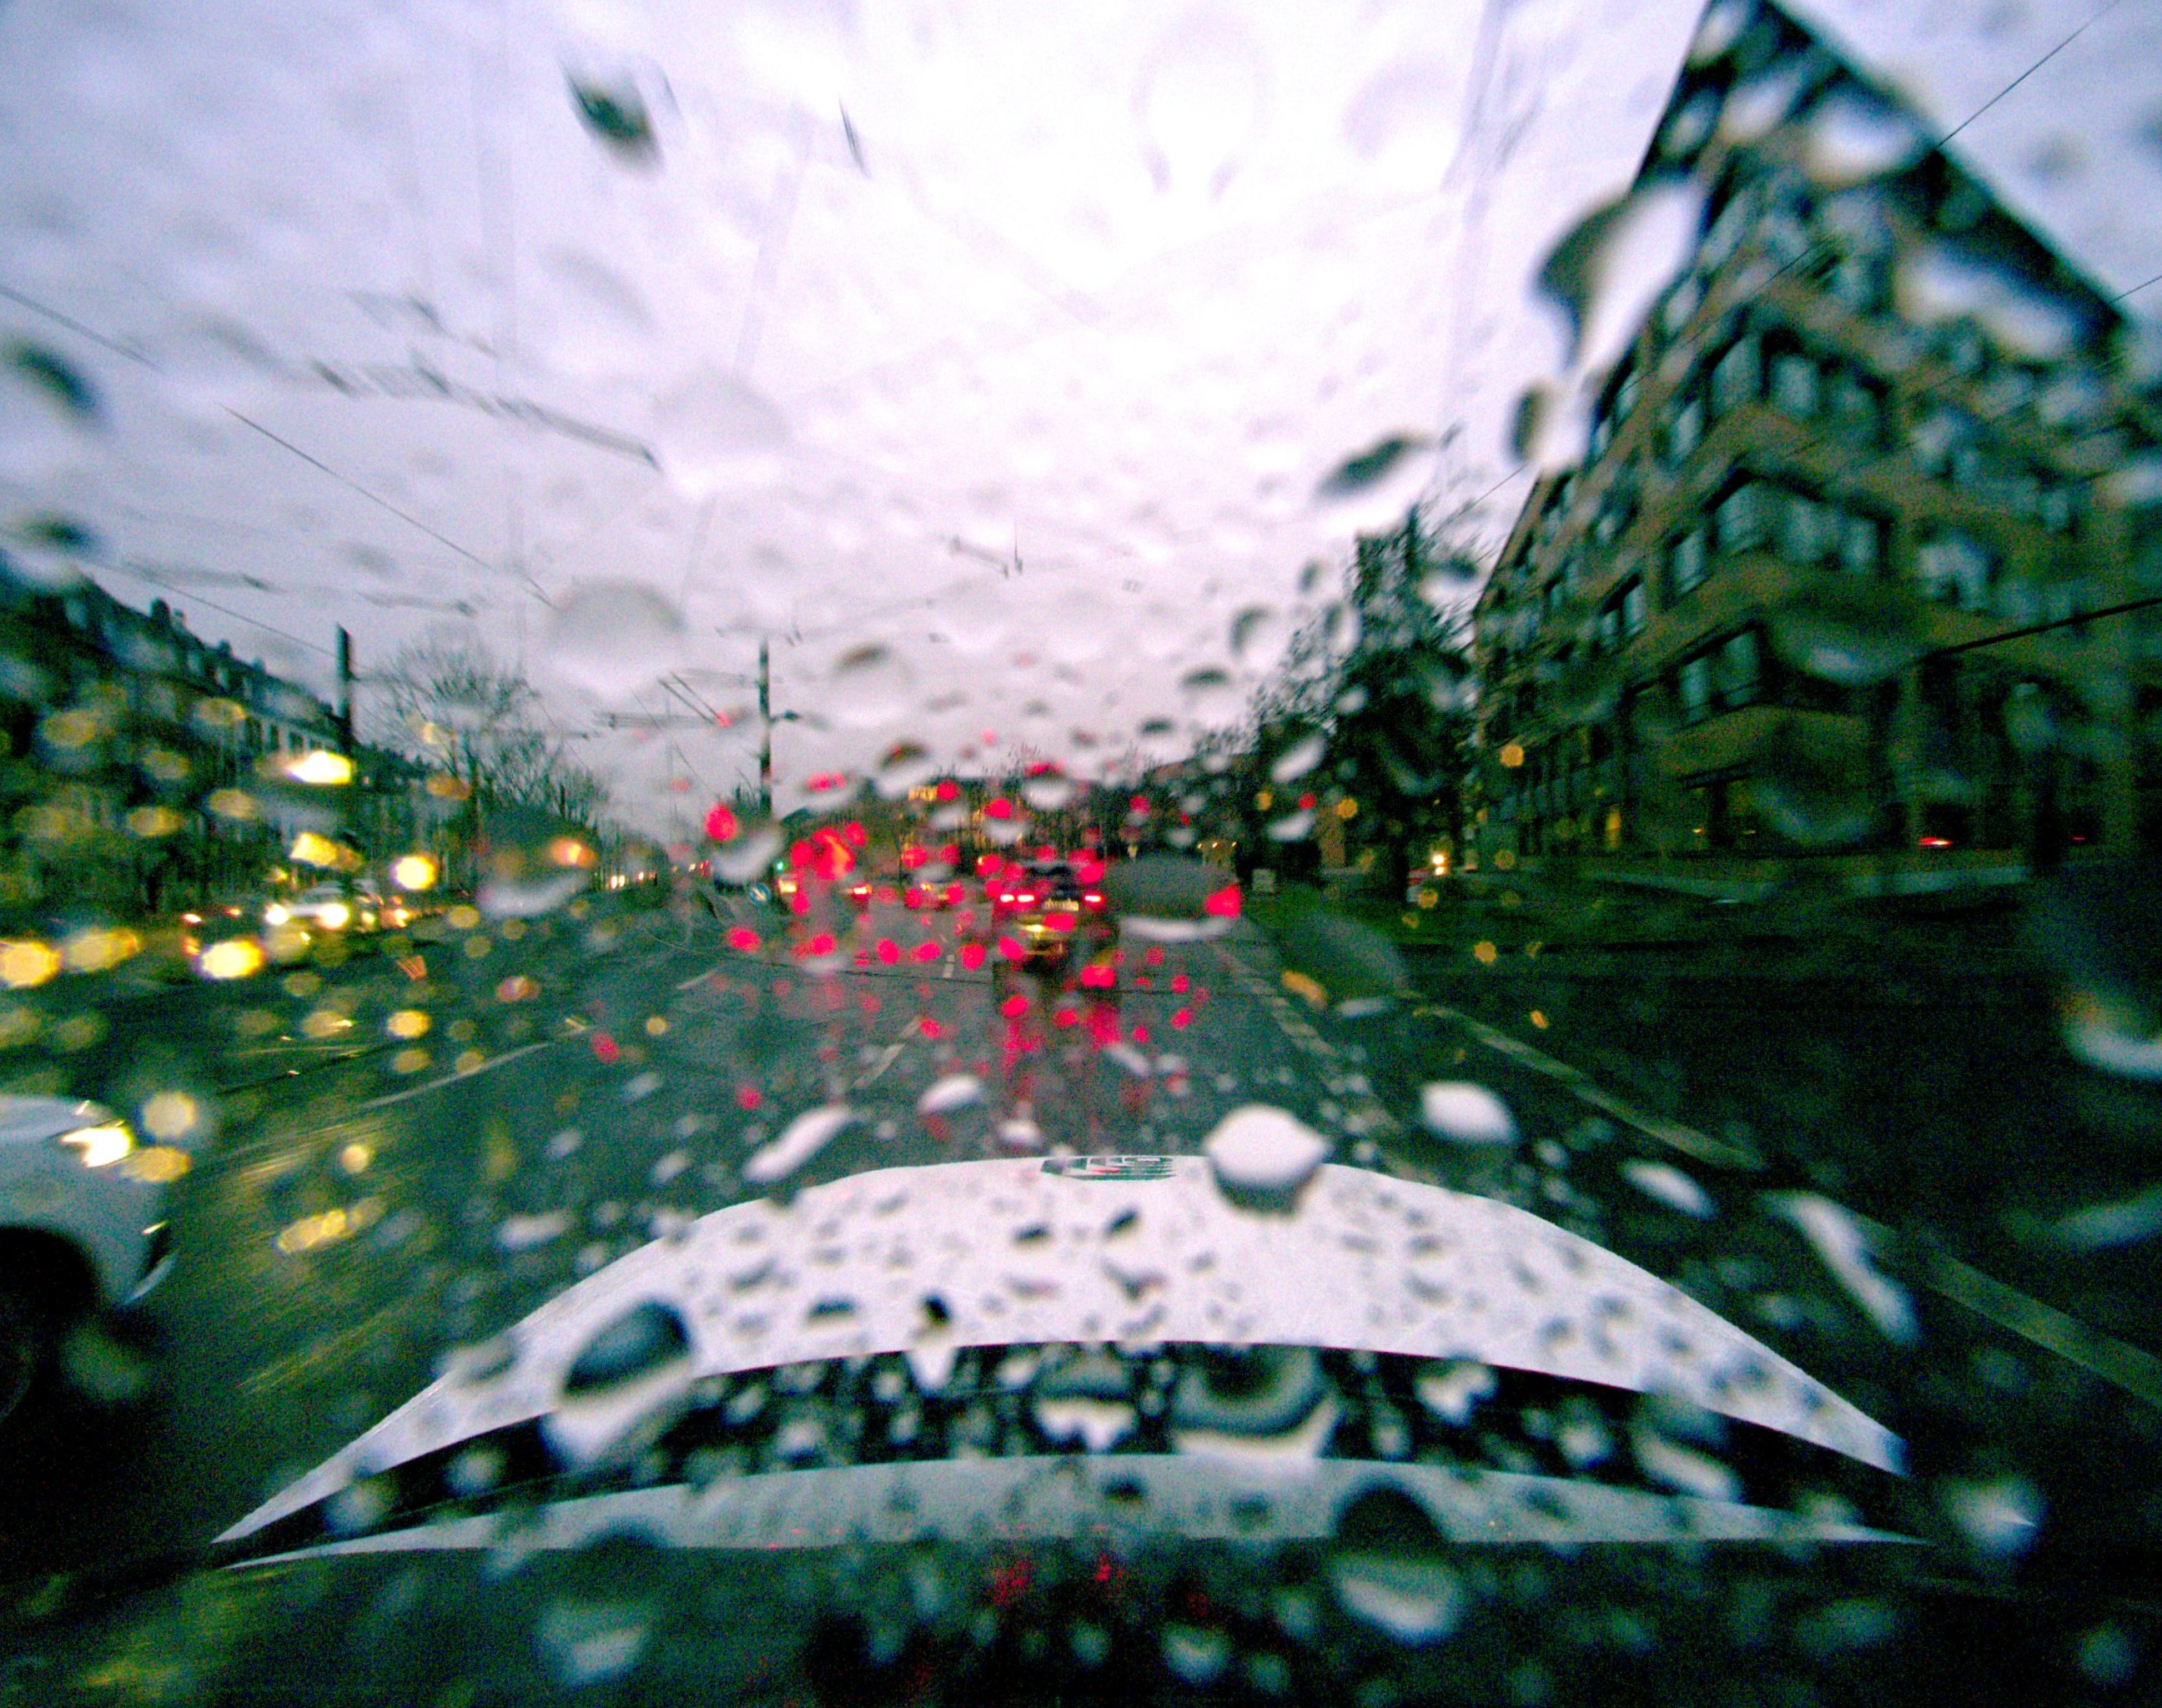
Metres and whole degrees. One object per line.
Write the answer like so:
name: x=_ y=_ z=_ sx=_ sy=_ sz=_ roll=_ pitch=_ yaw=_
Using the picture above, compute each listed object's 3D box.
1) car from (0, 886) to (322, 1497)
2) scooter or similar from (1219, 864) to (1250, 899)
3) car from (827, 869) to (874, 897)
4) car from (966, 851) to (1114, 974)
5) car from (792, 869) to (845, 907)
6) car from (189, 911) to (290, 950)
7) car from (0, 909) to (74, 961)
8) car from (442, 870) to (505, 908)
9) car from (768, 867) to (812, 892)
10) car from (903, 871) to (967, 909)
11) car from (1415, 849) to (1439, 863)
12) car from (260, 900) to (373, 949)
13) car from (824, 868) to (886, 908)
car: x=-3.618 y=0.893 z=0.876 sx=1.619 sy=1.487 sz=4.005 roll=-2 pitch=0 yaw=4
scooter or similar: x=5.635 y=1.011 z=29.928 sx=1.152 sy=1.232 sz=0.482 roll=-1 pitch=-1 yaw=-43
car: x=-14.246 y=1.759 z=50.177 sx=2.004 sy=1.618 sz=3.965 roll=-2 pitch=0 yaw=-27
car: x=-0.689 y=0.817 z=13.230 sx=1.987 sy=1.616 sz=3.994 roll=-2 pitch=0 yaw=-4
car: x=-13.568 y=1.709 z=41.907 sx=2.004 sy=1.765 sz=3.965 roll=-2 pitch=0 yaw=-26
car: x=-34.254 y=3.072 z=33.279 sx=1.544 sy=1.226 sz=4.052 roll=-2 pitch=0 yaw=-26
car: x=-29.016 y=2.199 z=21.422 sx=1.544 sy=1.226 sz=4.052 roll=-2 pitch=0 yaw=-26
car: x=-40.363 y=2.276 z=54.255 sx=2.002 sy=2.309 sz=5.227 roll=-2 pitch=0 yaw=-22
car: x=-20.546 y=1.770 z=57.396 sx=2.008 sy=1.618 sz=3.958 roll=-2 pitch=0 yaw=-33
car: x=-6.158 y=1.450 z=34.060 sx=2.000 sy=1.408 sz=3.973 roll=-2 pitch=0 yaw=-20
car: x=30.114 y=0.172 z=70.981 sx=1.653 sy=1.181 sz=3.726 roll=-2 pitch=0 yaw=19
car: x=-24.487 y=2.196 z=26.241 sx=1.545 sy=1.245 sz=4.051 roll=-2 pitch=0 yaw=-27
car: x=-9.074 y=1.306 z=32.475 sx=2.001 sy=1.398 sz=3.972 roll=-2 pitch=0 yaw=-21
